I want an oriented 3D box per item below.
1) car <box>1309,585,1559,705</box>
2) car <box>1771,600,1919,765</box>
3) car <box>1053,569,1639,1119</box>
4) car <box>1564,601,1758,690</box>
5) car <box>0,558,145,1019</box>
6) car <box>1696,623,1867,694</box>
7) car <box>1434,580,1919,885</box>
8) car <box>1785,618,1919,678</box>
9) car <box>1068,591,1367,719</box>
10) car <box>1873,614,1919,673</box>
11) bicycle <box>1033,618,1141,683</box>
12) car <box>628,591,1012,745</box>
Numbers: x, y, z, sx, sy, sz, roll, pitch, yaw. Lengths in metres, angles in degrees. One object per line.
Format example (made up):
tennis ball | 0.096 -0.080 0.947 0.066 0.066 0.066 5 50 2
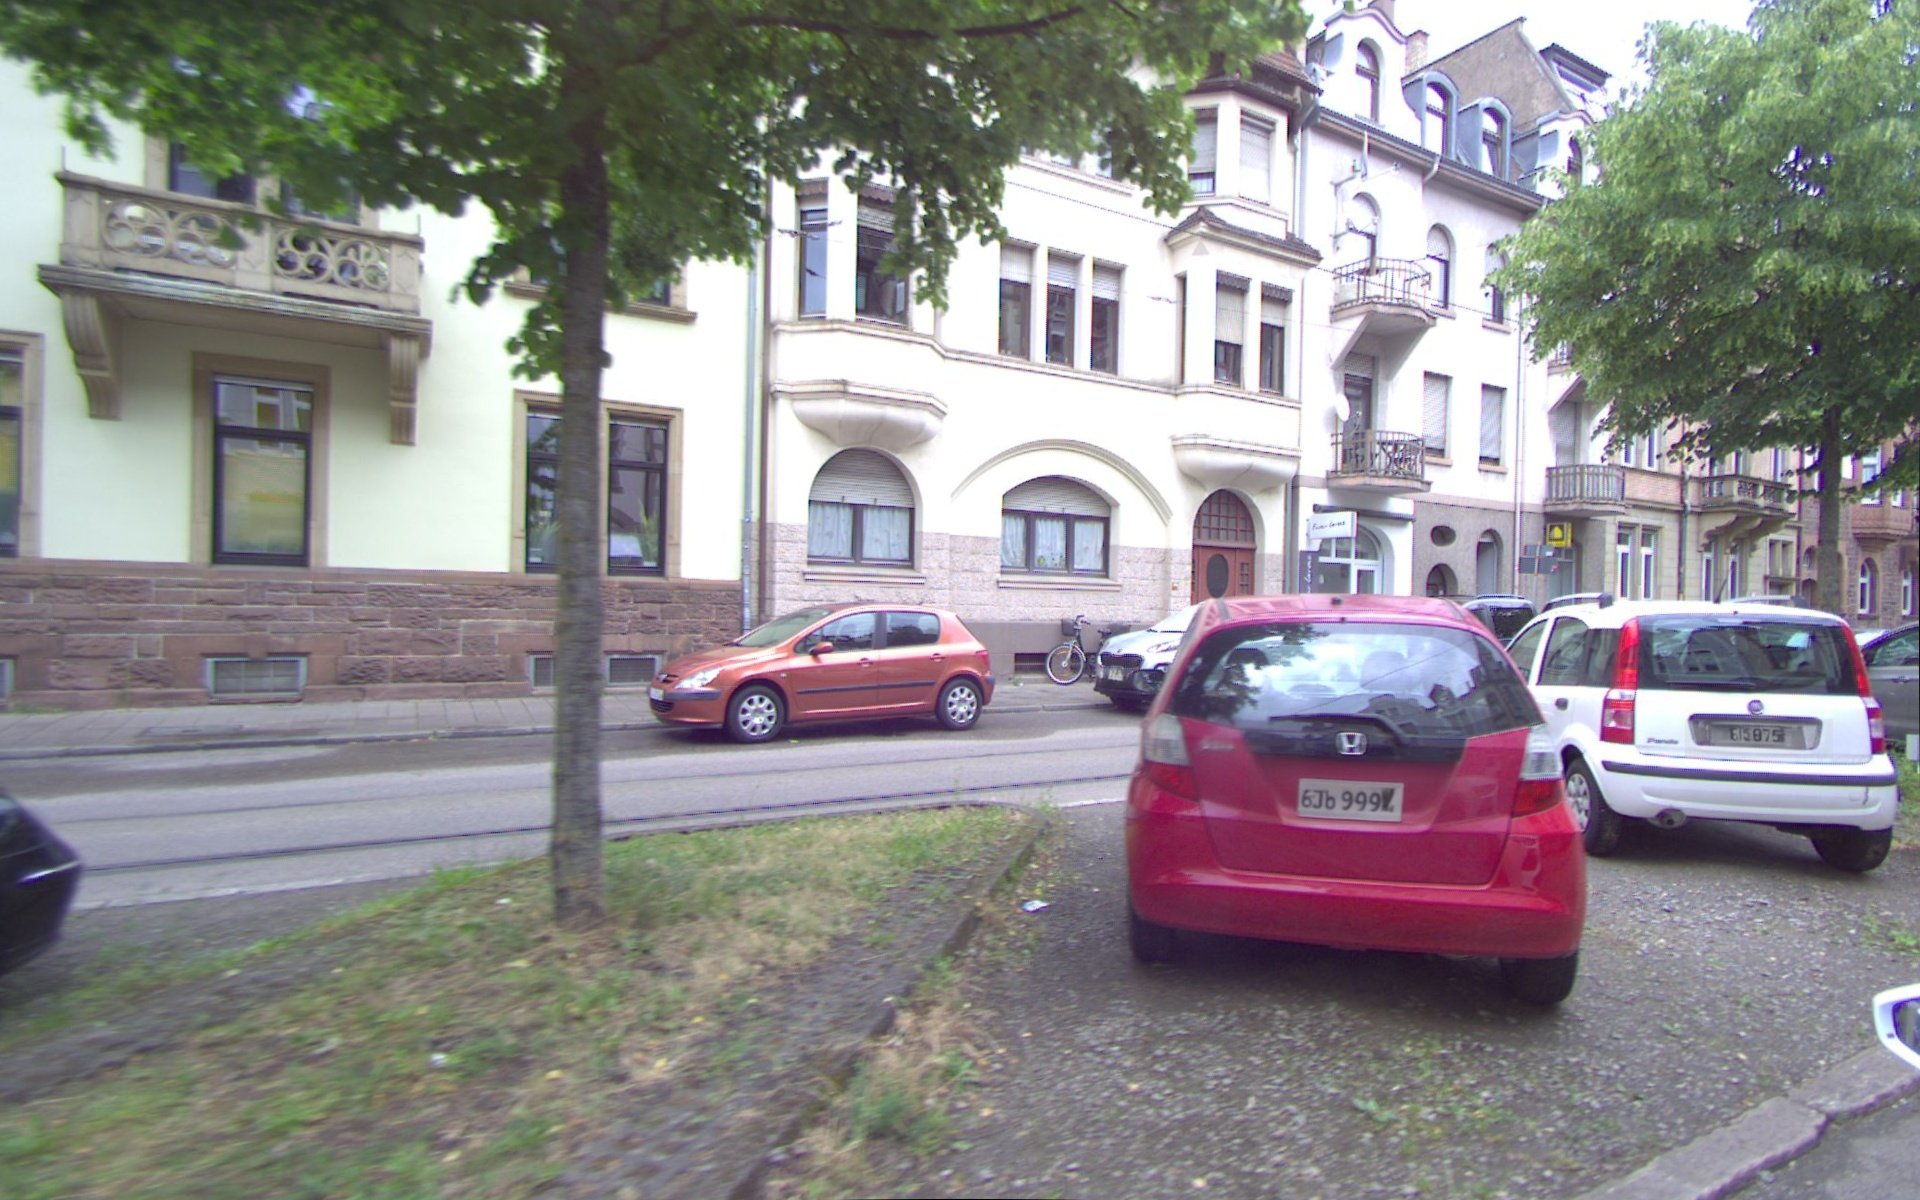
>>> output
car | 8.454 0.754 17.839 4.378 1.895 1.842 1 0 -30
car | 10.378 0.848 10.076 1.690 1.630 4.210 2 -1 12
car | 1.621 0.667 4.949 1.641 1.547 3.814 2 2 15
car | 14.939 0.940 21.351 4.224 1.702 1.796 2 0 -31
car | -4.483 0.578 1.679 1.848 1.486 4.610 1 0 16
car | 19.674 1.360 24.024 4.337 1.509 1.796 2 0 -31
car | 4.711 0.728 7.086 1.656 1.547 3.430 2 -1 12
car | 24.145 1.277 26.947 4.181 1.457 1.796 2 0 -31
car | 3.952 0.756 15.187 4.444 1.682 1.840 1 0 -33
car | 28.985 1.290 29.713 4.271 1.650 1.760 2 0 -31
bicycle | 2.267 0.889 17.885 1.845 1.102 0.652 1 1 -28
car | -1.603 0.717 11.970 4.149 1.542 1.840 1 0 -33
